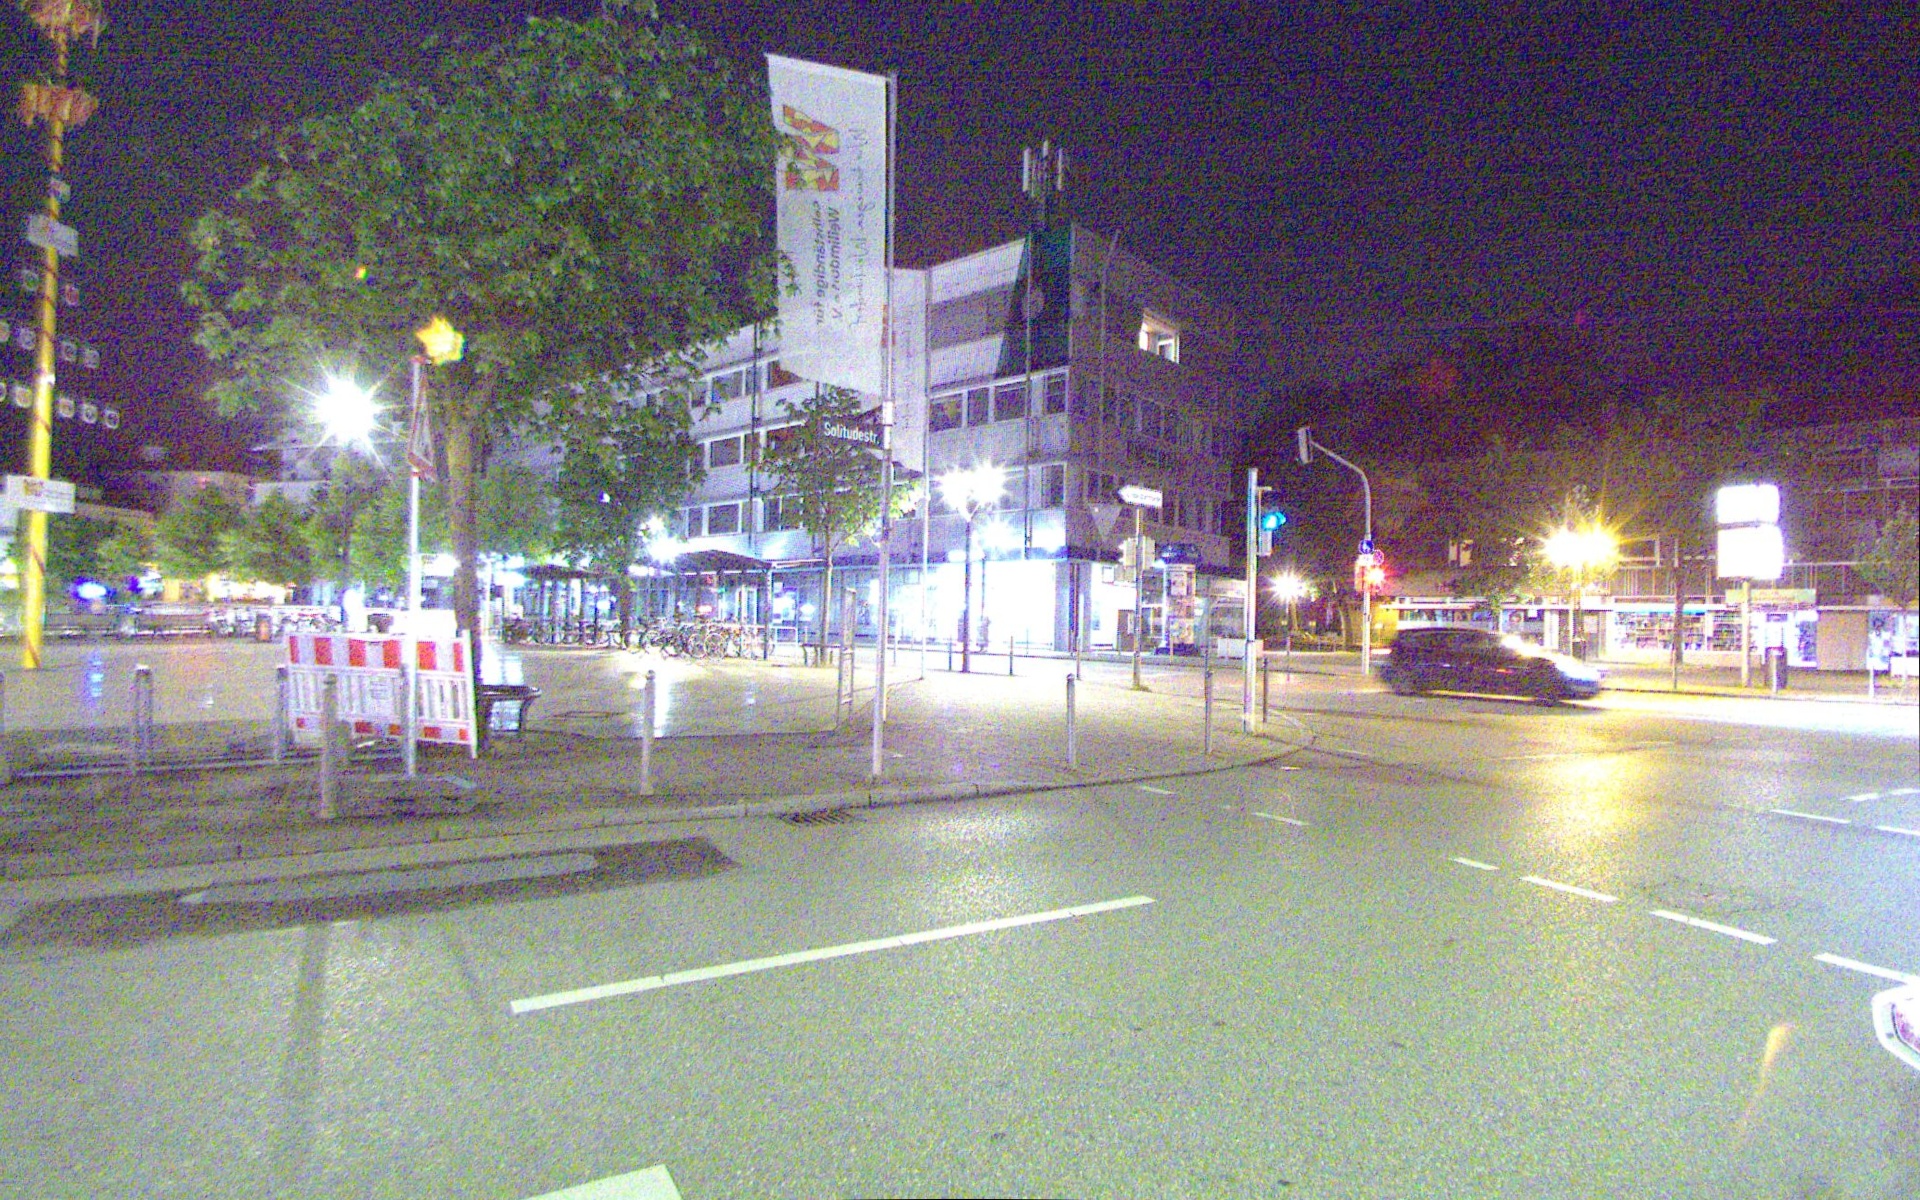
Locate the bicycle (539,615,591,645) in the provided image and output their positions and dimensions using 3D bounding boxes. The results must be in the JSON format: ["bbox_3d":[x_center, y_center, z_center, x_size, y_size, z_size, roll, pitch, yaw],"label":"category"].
[{"bbox_3d":[-13.042,1.000,33.196,0.473,0.970,1.525,2,0,44],"label":"bicycle"}]

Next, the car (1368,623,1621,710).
[{"bbox_3d":[10.963,1.293,20.798,4.258,1.473,1.868,1,0,45],"label":"car"}]

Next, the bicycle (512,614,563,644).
[{"bbox_3d":[-14.183,0.983,33.740,0.473,0.970,1.525,2,0,44],"label":"bicycle"}]

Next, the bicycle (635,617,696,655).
[{"bbox_3d":[-7.850,0.955,26.825,0.473,0.970,1.525,2,0,44],"label":"bicycle"}]

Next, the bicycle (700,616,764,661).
[{"bbox_3d":[-5.650,0.945,24.927,0.440,1.068,1.525,2,0,43],"label":"bicycle"}]

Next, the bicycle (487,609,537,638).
[{"bbox_3d":[-15.548,0.819,34.885,0.473,0.970,1.525,2,0,44],"label":"bicycle"}]

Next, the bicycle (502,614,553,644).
[{"bbox_3d":[-14.795,0.992,34.369,0.473,0.970,1.525,2,0,44],"label":"bicycle"}]

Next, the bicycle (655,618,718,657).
[{"bbox_3d":[-7.104,0.965,26.142,0.473,0.970,1.525,2,0,44],"label":"bicycle"}]

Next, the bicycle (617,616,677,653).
[{"bbox_3d":[-8.530,0.938,27.425,0.473,0.970,1.525,2,0,44],"label":"bicycle"}]

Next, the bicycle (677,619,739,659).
[{"bbox_3d":[-6.392,0.981,25.506,0.440,0.970,1.525,2,0,43],"label":"bicycle"}]

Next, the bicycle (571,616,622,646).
[{"bbox_3d":[-11.974,1.016,33.086,0.473,0.970,1.525,2,0,44],"label":"bicycle"}]
